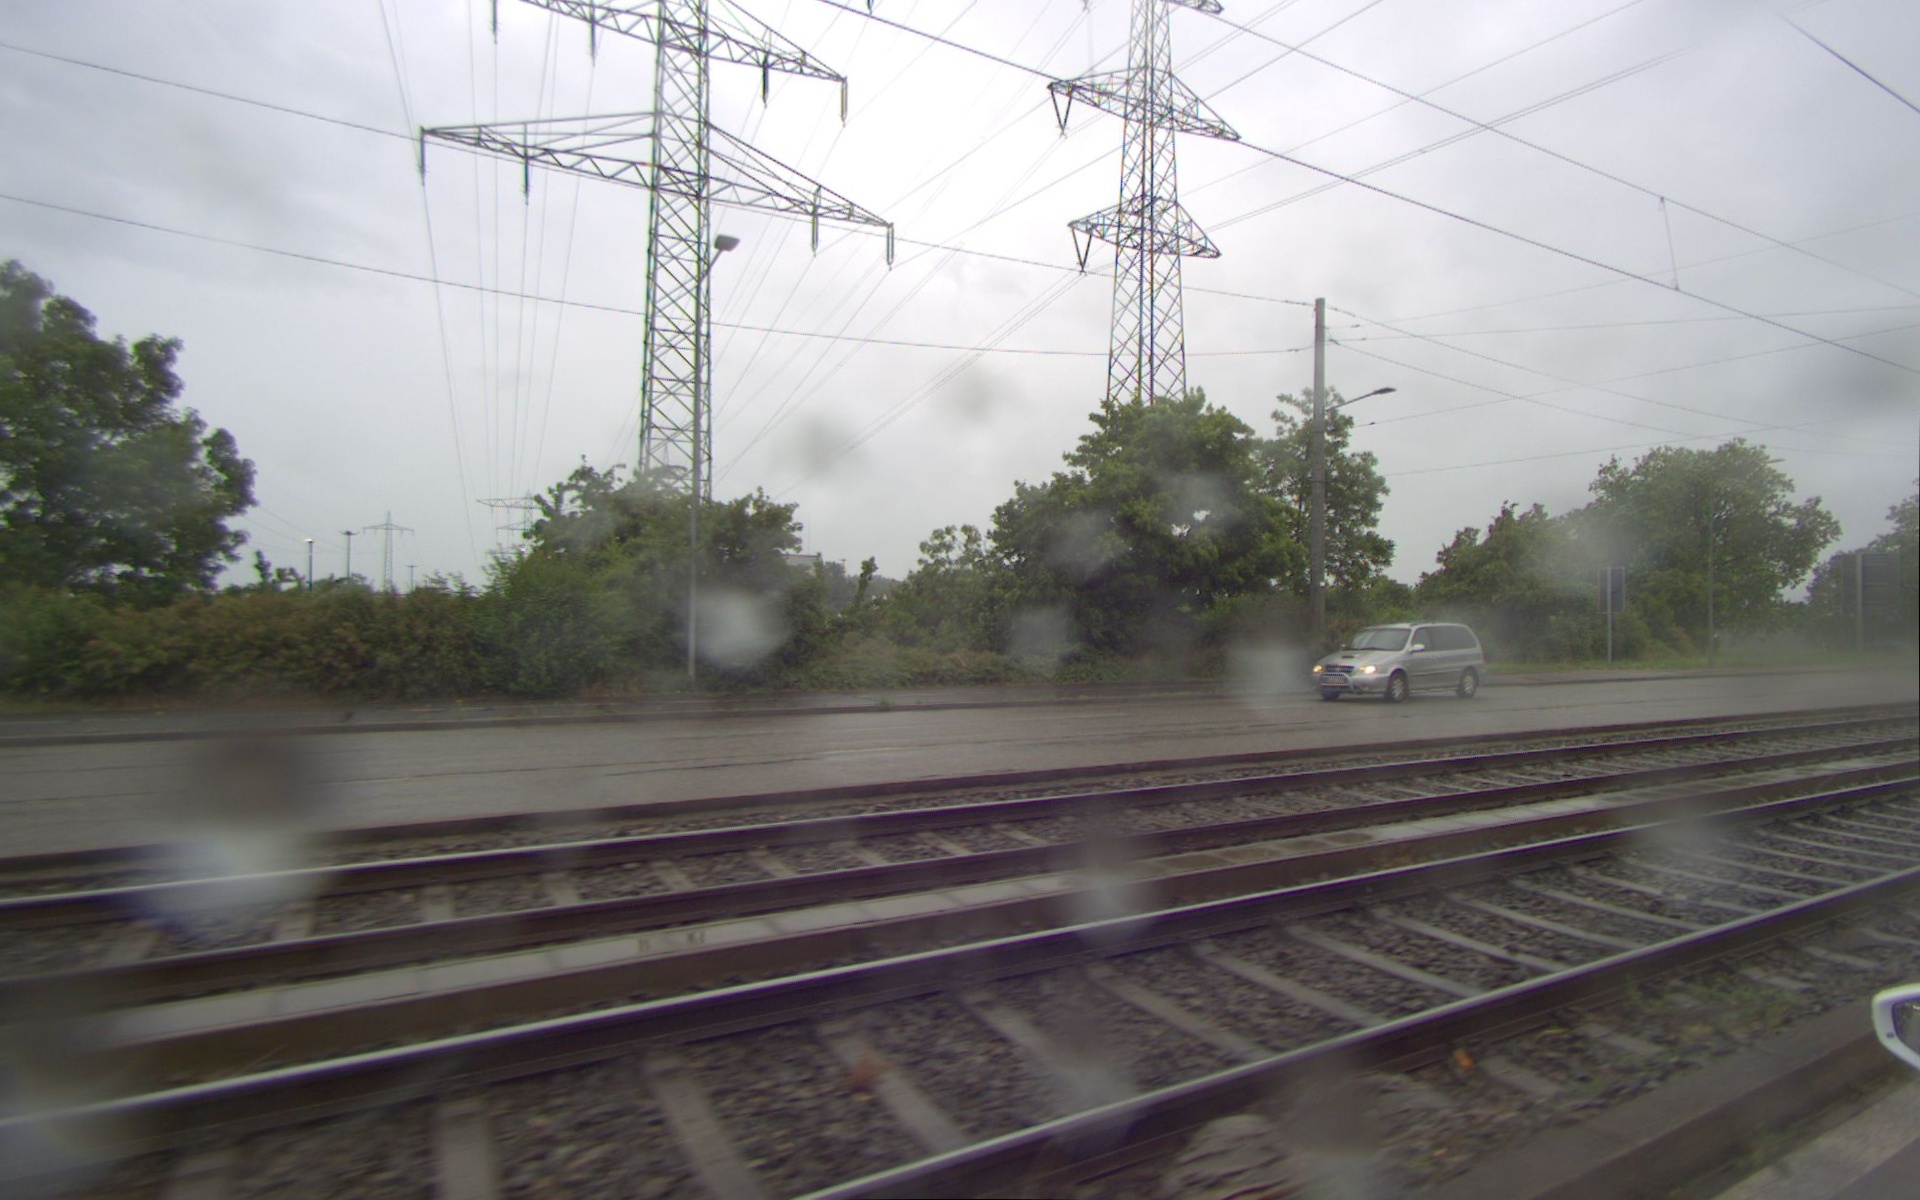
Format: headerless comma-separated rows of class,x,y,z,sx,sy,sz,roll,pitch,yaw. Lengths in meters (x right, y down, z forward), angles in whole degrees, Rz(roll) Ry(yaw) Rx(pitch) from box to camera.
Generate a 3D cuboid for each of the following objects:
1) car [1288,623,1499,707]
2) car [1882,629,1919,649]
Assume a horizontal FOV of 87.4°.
car,9.983,1.398,23.009,5.077,1.657,1.816,0,1,-31
car,89.910,3.666,95.112,1.810,1.709,4.652,1,1,14
